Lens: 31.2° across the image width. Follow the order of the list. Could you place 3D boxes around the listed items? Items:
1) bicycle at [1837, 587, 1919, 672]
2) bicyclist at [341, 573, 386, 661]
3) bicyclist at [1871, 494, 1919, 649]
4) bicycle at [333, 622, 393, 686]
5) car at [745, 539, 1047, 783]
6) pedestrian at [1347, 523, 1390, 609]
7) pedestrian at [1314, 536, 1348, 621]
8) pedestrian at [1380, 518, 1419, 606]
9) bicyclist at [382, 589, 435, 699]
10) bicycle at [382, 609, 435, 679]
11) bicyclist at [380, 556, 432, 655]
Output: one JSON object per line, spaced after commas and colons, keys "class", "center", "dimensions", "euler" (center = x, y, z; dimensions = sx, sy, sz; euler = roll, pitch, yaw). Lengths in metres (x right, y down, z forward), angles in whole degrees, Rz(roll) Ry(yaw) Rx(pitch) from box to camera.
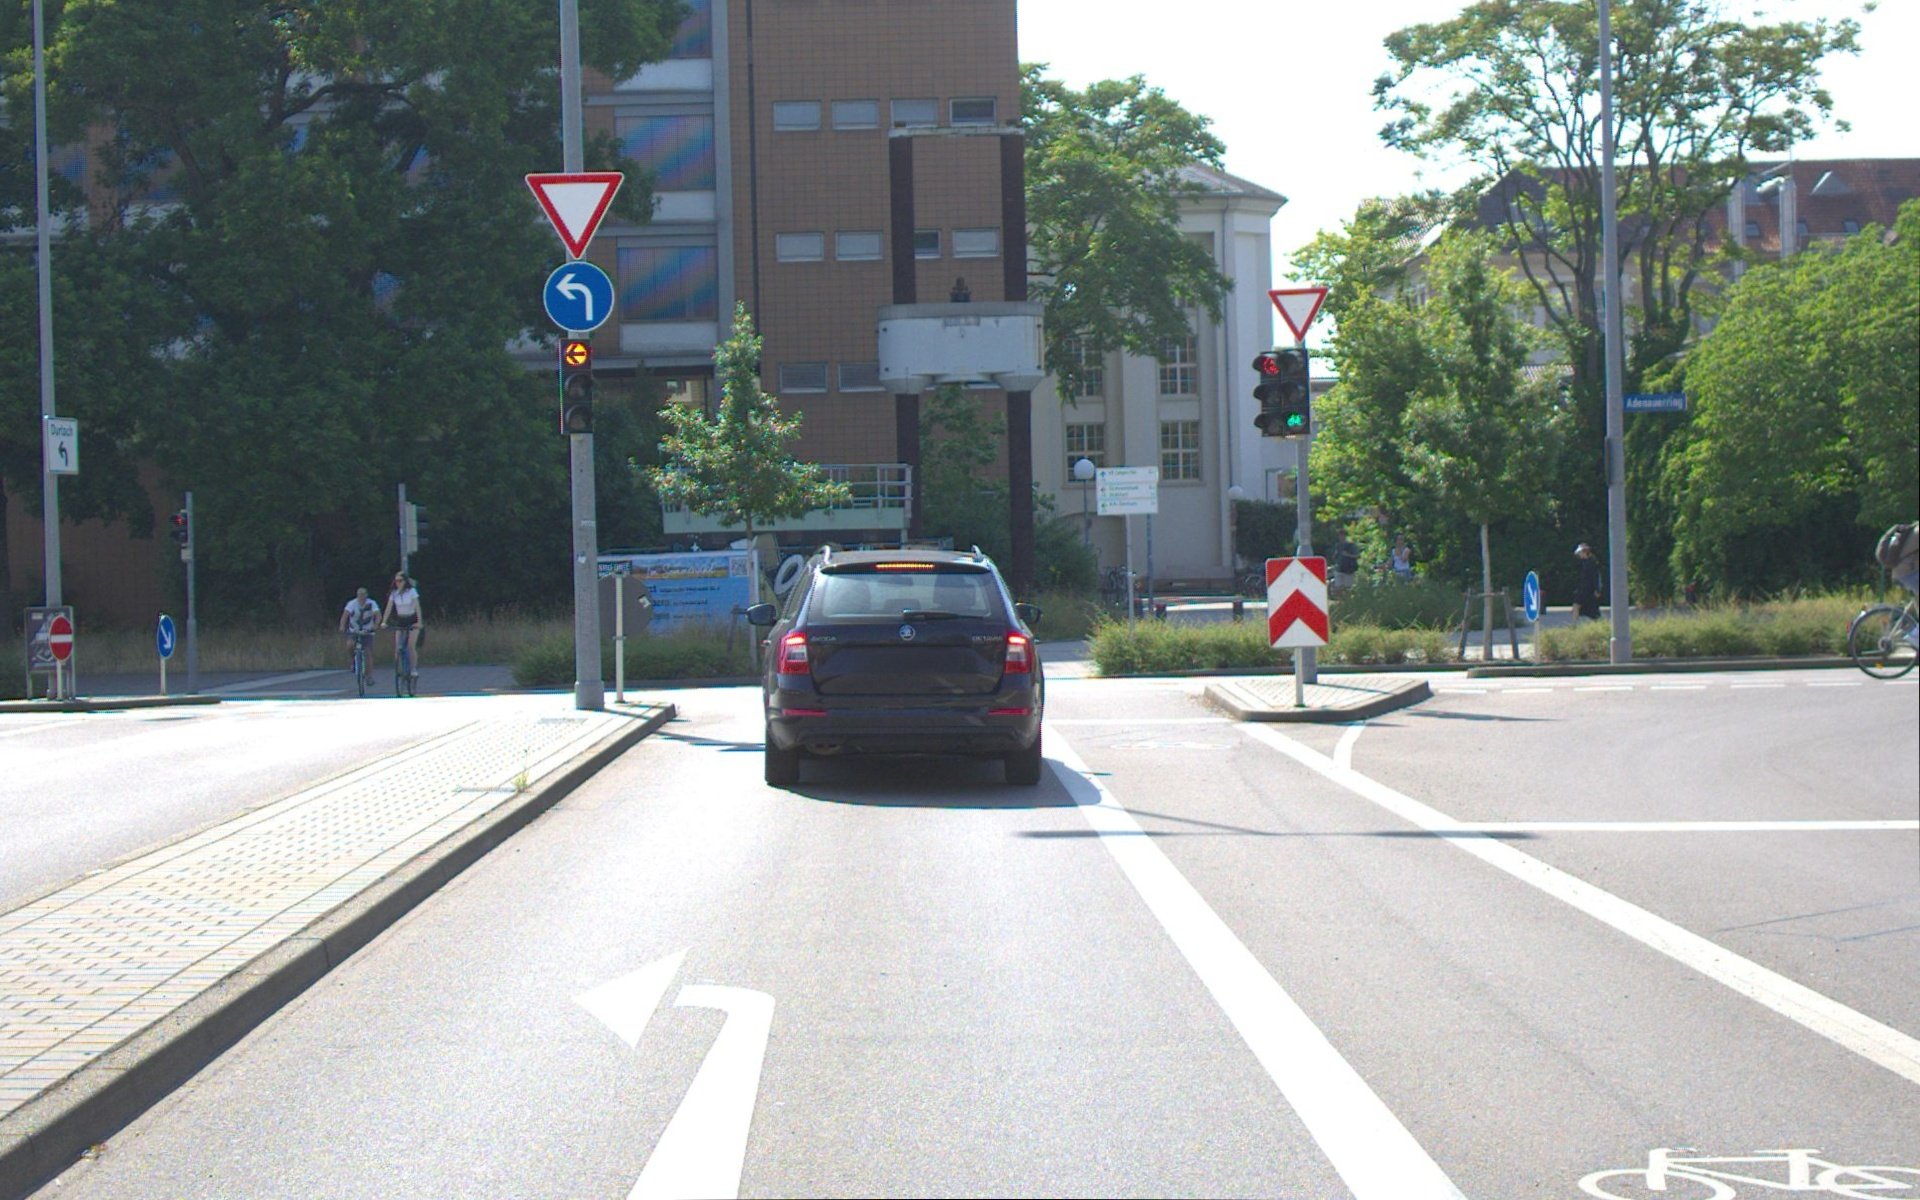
{"class": "bicycle", "center": [9.461, 0.272, 33.199], "dimensions": [1.891, 0.790, 0.560], "euler": [-1, 2, 12]}
{"class": "bicyclist", "center": [-9.810, 0.274, 56.528], "dimensions": [0.539, 1.412, 1.030], "euler": [-3, 0, -3]}
{"class": "bicyclist", "center": [9.434, -0.289, 33.206], "dimensions": [1.166, 1.469, 0.564], "euler": [-2, 1, 12]}
{"class": "bicycle", "center": [-9.804, 0.877, 56.507], "dimensions": [0.704, 0.974, 2.031], "euler": [-2, 1, -3]}
{"class": "car", "center": [-0.394, 0.335, 22.256], "dimensions": [1.779, 1.438, 3.818], "euler": [0, 1, 0]}
{"class": "pedestrian", "center": [8.971, -0.751, 75.544], "dimensions": [0.794, 1.868, 0.638], "euler": [0, 0, 20]}
{"class": "pedestrian", "center": [8.193, -0.477, 75.898], "dimensions": [0.597, 1.868, 0.638], "euler": [0, 0, 22]}
{"class": "pedestrian", "center": [9.517, -0.825, 74.454], "dimensions": [0.637, 1.868, 0.796], "euler": [-3, 1, -1]}
{"class": "bicyclist", "center": [-8.277, 0.651, 51.630], "dimensions": [0.618, 1.576, 1.014], "euler": [-4, 1, -6]}
{"class": "bicycle", "center": [-8.279, 0.651, 51.658], "dimensions": [0.618, 0.957, 1.968], "euler": [-4, 1, -6]}
{"class": "bicyclist", "center": [-8.315, 0.077, 51.613], "dimensions": [0.618, 1.438, 0.921], "euler": [-4, 1, -6]}
